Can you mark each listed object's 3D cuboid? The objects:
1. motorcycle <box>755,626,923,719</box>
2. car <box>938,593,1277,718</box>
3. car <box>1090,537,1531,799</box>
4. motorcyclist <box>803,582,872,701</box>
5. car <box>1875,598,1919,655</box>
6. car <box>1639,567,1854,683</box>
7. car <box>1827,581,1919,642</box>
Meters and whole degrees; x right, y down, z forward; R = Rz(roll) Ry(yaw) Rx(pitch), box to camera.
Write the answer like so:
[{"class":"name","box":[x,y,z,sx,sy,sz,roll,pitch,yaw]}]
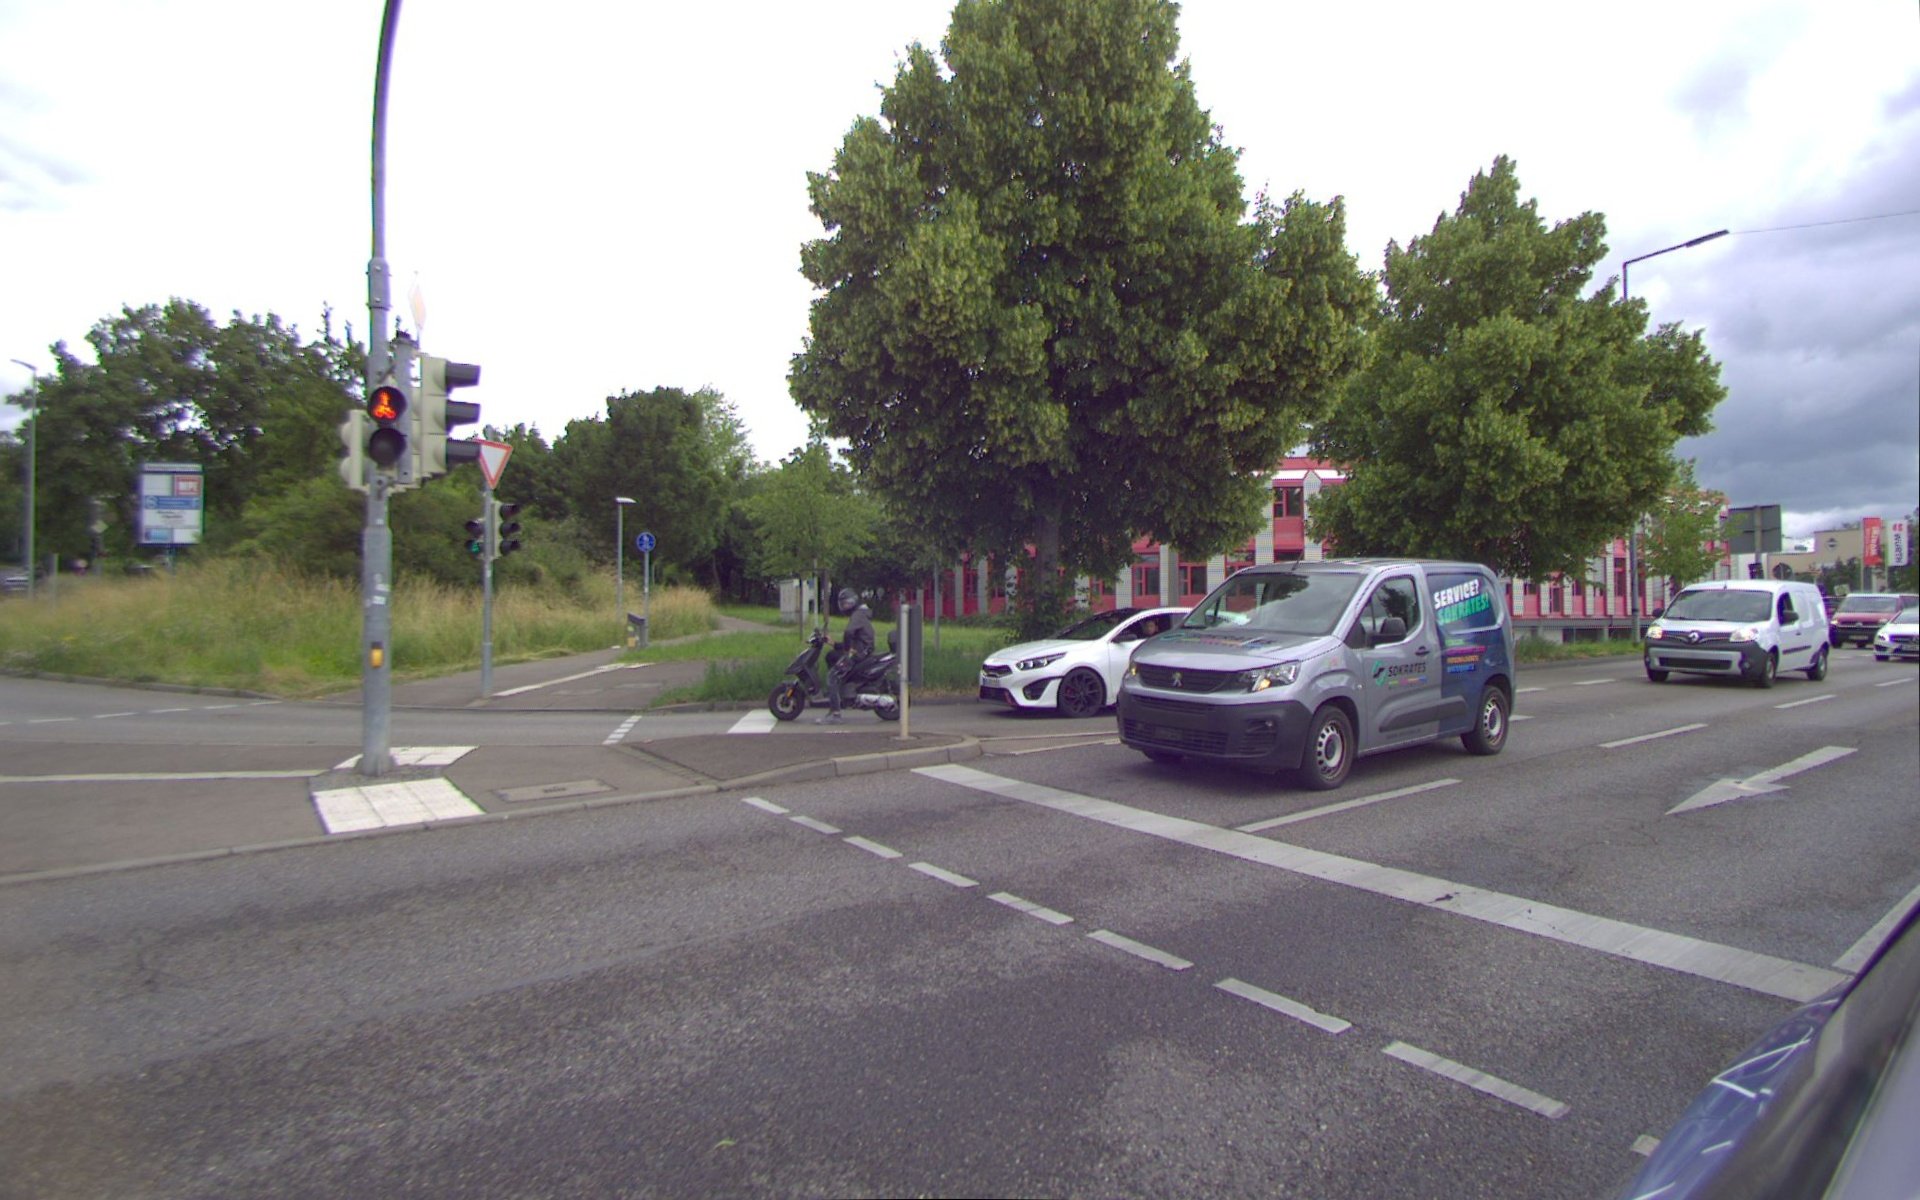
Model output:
[{"class":"motorcycle","box":[-1.479,0.888,12.620,2.029,1.104,0.760,0,-1,-3]},{"class":"car","box":[2.078,0.669,13.918,4.424,1.438,1.837,-1,-1,-30]},{"class":"car","box":[3.245,0.440,8.985,4.147,1.802,1.813,-1,1,-39]},{"class":"motorcyclist","box":[-1.518,0.502,12.626,0.801,1.440,0.760,0,-1,-3]},{"class":"car","box":[25.628,0.754,26.207,4.139,1.358,1.816,4,-2,-32]},{"class":"car","box":[14.038,0.413,17.977,4.608,1.815,1.814,1,0,-36]},{"class":"car","box":[32.759,0.432,36.018,4.373,1.930,2.183,4,-2,-40]}]
